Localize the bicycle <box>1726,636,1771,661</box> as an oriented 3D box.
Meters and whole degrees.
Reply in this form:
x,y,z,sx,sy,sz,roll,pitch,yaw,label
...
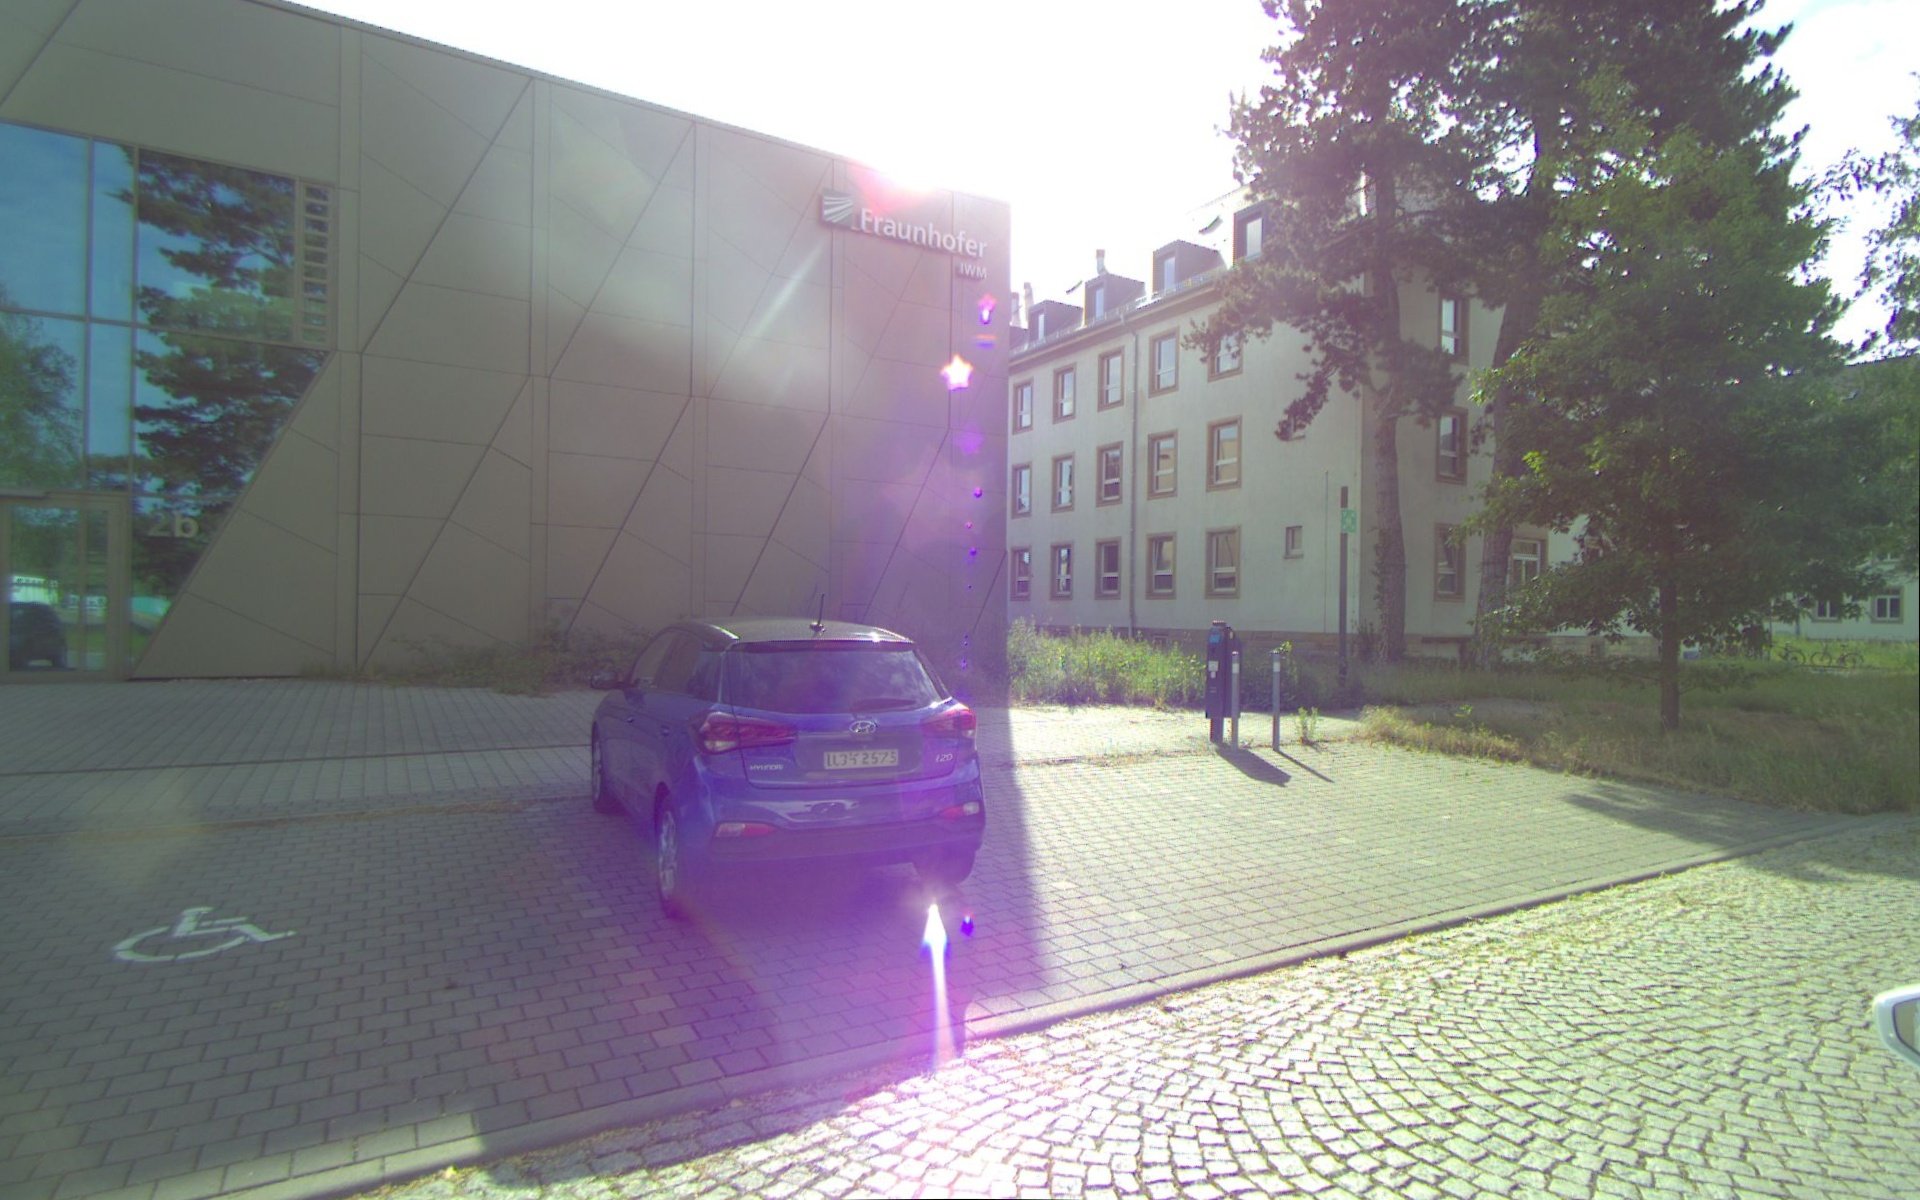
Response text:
x,y,z,sx,sy,sz,roll,pitch,yaw,label
34.219,2.099,43.581,2.100,1.061,0.822,1,-1,-31,bicycle

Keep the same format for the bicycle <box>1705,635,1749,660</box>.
x,y,z,sx,sy,sz,roll,pitch,yaw,label
33.795,2.083,44.235,2.100,1.061,0.822,1,-1,-31,bicycle

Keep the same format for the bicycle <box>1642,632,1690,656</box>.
x,y,z,sx,sy,sz,roll,pitch,yaw,label
32.609,2.037,46.389,2.524,1.061,0.896,1,-1,-31,bicycle

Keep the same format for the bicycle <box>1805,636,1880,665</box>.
x,y,z,sx,sy,sz,roll,pitch,yaw,label
35.014,2.004,39.891,0.820,1.061,2.104,1,-1,-33,bicycle

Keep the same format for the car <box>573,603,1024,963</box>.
x,y,z,sx,sy,sz,roll,pitch,yaw,label
-1.335,0.839,6.525,1.699,1.483,3.819,2,1,-29,car

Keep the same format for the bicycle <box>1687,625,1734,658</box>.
x,y,z,sx,sy,sz,roll,pitch,yaw,label
33.696,1.865,45.096,2.524,1.456,0.822,1,-1,-31,bicycle

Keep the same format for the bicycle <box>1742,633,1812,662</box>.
x,y,z,sx,sy,sz,roll,pitch,yaw,label
33.883,1.964,41.681,0.820,1.123,2.104,1,-1,-33,bicycle

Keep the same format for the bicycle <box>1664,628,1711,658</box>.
x,y,z,sx,sy,sz,roll,pitch,yaw,label
33.057,1.936,45.610,2.524,1.298,0.822,1,-1,-31,bicycle
